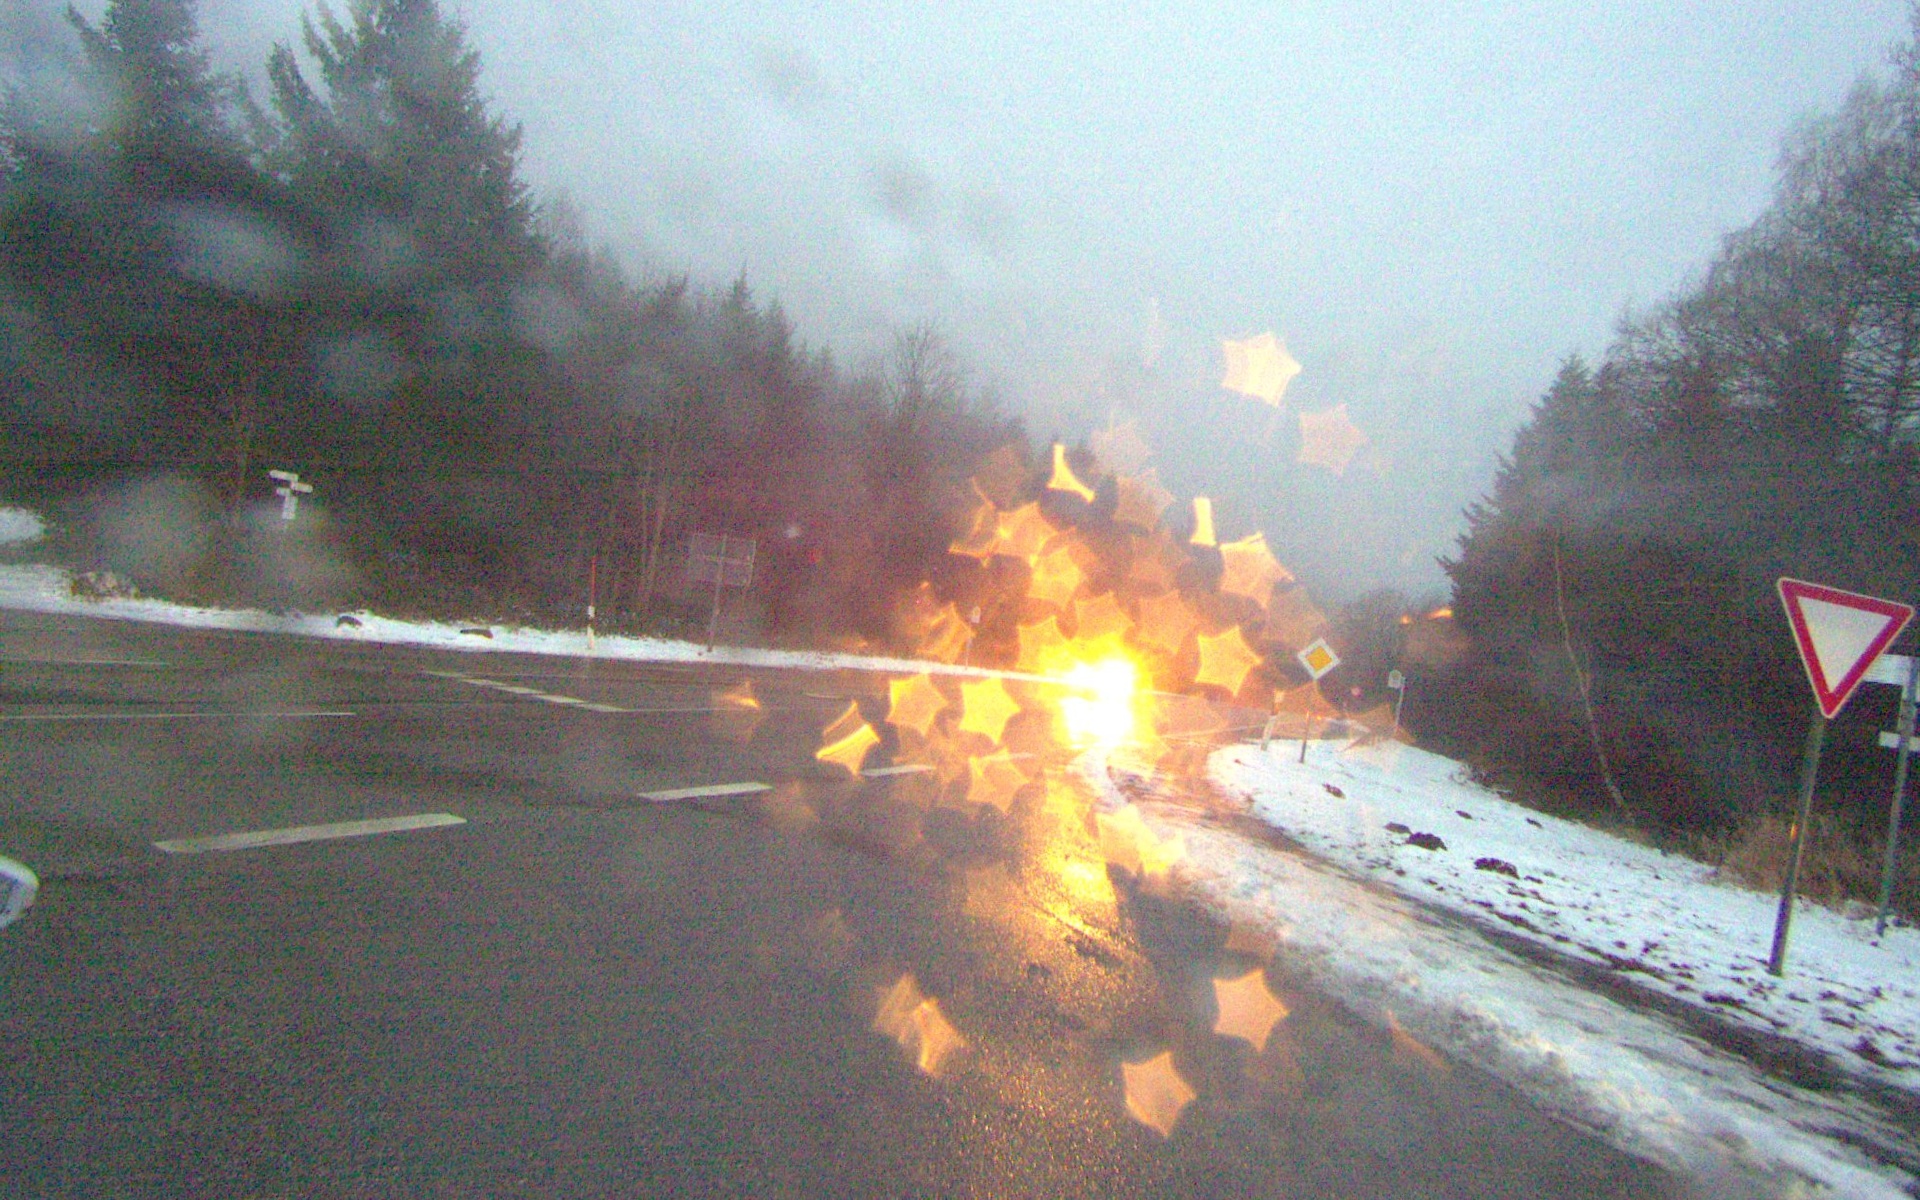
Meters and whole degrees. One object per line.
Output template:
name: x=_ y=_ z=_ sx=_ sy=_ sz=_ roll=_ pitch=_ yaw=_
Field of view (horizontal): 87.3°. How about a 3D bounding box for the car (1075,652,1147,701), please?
car: x=5.442 y=2.756 z=35.971 sx=1.549 sy=1.469 sz=3.413 roll=7 pitch=-2 yaw=25
